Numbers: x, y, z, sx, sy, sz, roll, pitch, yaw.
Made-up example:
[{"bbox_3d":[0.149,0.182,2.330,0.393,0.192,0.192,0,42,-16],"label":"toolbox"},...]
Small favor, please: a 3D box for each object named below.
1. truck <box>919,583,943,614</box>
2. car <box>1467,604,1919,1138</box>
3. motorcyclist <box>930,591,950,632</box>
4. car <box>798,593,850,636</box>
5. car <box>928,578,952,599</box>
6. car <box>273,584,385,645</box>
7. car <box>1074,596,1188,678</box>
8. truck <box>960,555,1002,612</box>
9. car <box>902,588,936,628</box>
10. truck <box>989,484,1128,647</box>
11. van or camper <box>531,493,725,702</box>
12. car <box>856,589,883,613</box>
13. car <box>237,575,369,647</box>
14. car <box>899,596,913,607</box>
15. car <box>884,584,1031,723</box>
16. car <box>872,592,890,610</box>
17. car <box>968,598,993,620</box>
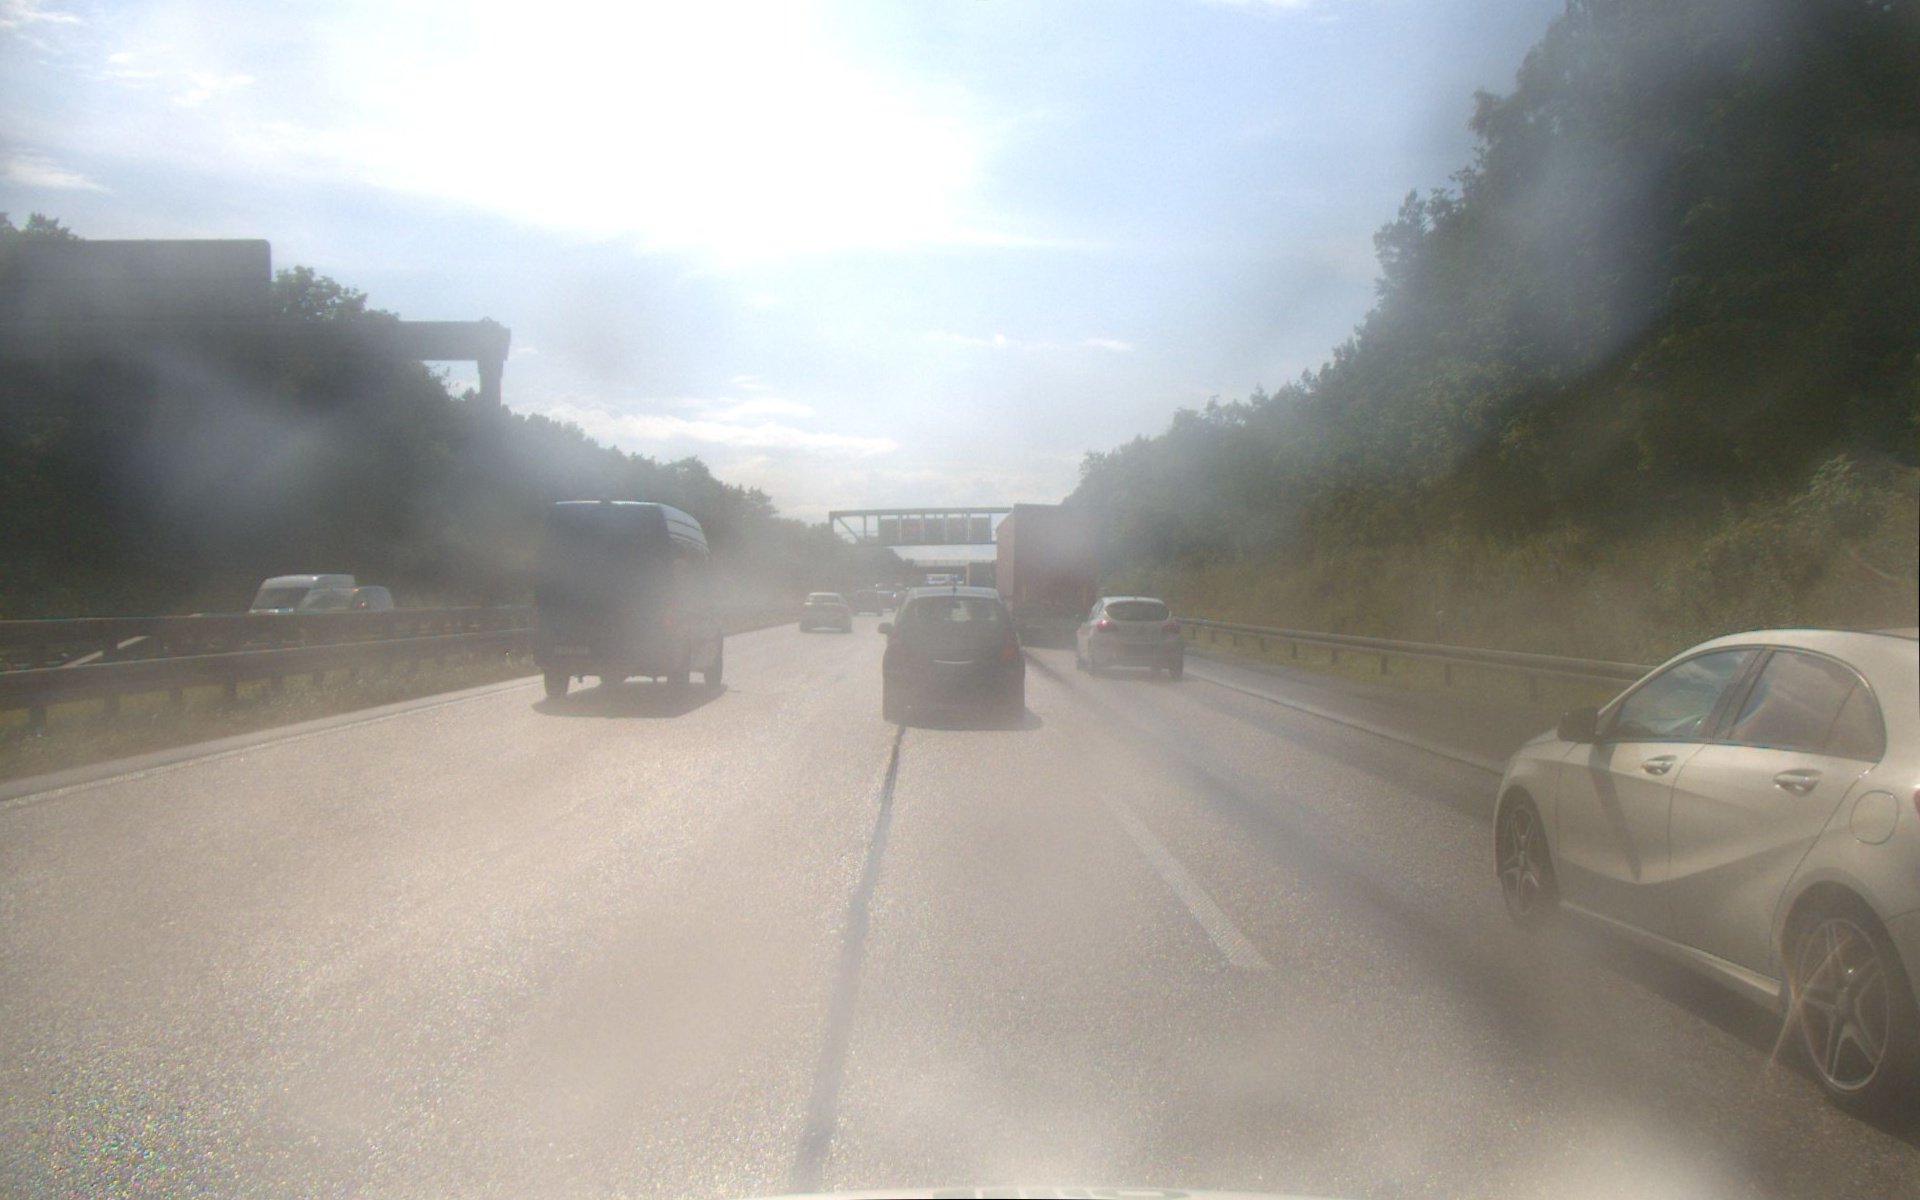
[{"bbox_3d":[-2.803,-0.145,159.134,2.148,2.925,4.847,1,0,-3],"label":"truck"},{"bbox_3d":[3.443,0.759,6.324,1.658,1.450,4.219,1,0,-1],"label":"car"},{"bbox_3d":[-0.822,0.460,67.660,0.785,1.662,1.013,1,0,-3],"label":"motorcyclist"},{"bbox_3d":[-5.173,0.528,63.307,1.817,1.578,3.483,1,0,-3],"label":"car"},{"bbox_3d":[-1.395,-0.767,113.518,1.521,1.407,3.208,1,0,-3],"label":"car"},{"bbox_3d":[-18.126,0.409,47.689,1.712,1.663,3.999,1,0,-1],"label":"car"},{"bbox_3d":[3.267,0.678,32.209,1.647,1.467,3.903,1,0,-3],"label":"car"},{"bbox_3d":[1.669,-1.356,139.475,3.190,4.558,12.419,1,0,-1],"label":"truck"},{"bbox_3d":[-1.887,0.366,75.593,1.501,1.777,3.483,1,0,-3],"label":"car"},{"bbox_3d":[3.082,-1.035,57.715,3.575,4.803,16.775,1,0,-1],"label":"truck"},{"bbox_3d":[-4.737,-0.036,24.395,1.953,2.715,5.382,1,0,-3],"label":"van or camper"},{"bbox_3d":[-5.898,0.073,108.088,1.716,1.482,3.388,1,0,-3],"label":"car"},{"bbox_3d":[-22.104,0.345,55.916,2.101,2.288,5.978,1,0,-1],"label":"car"},{"bbox_3d":[-6.098,0.170,185.561,1.518,1.289,3.482,1,0,-3],"label":"car"},{"bbox_3d":[-0.100,0.617,20.986,1.683,1.595,3.483,1,0,-3],"label":"car"},{"bbox_3d":[-6.376,0.104,134.382,1.431,1.418,3.310,1,0,-3],"label":"car"},{"bbox_3d":[1.363,0.603,111.210,1.521,1.407,3.208,1,0,-3],"label":"car"}]
